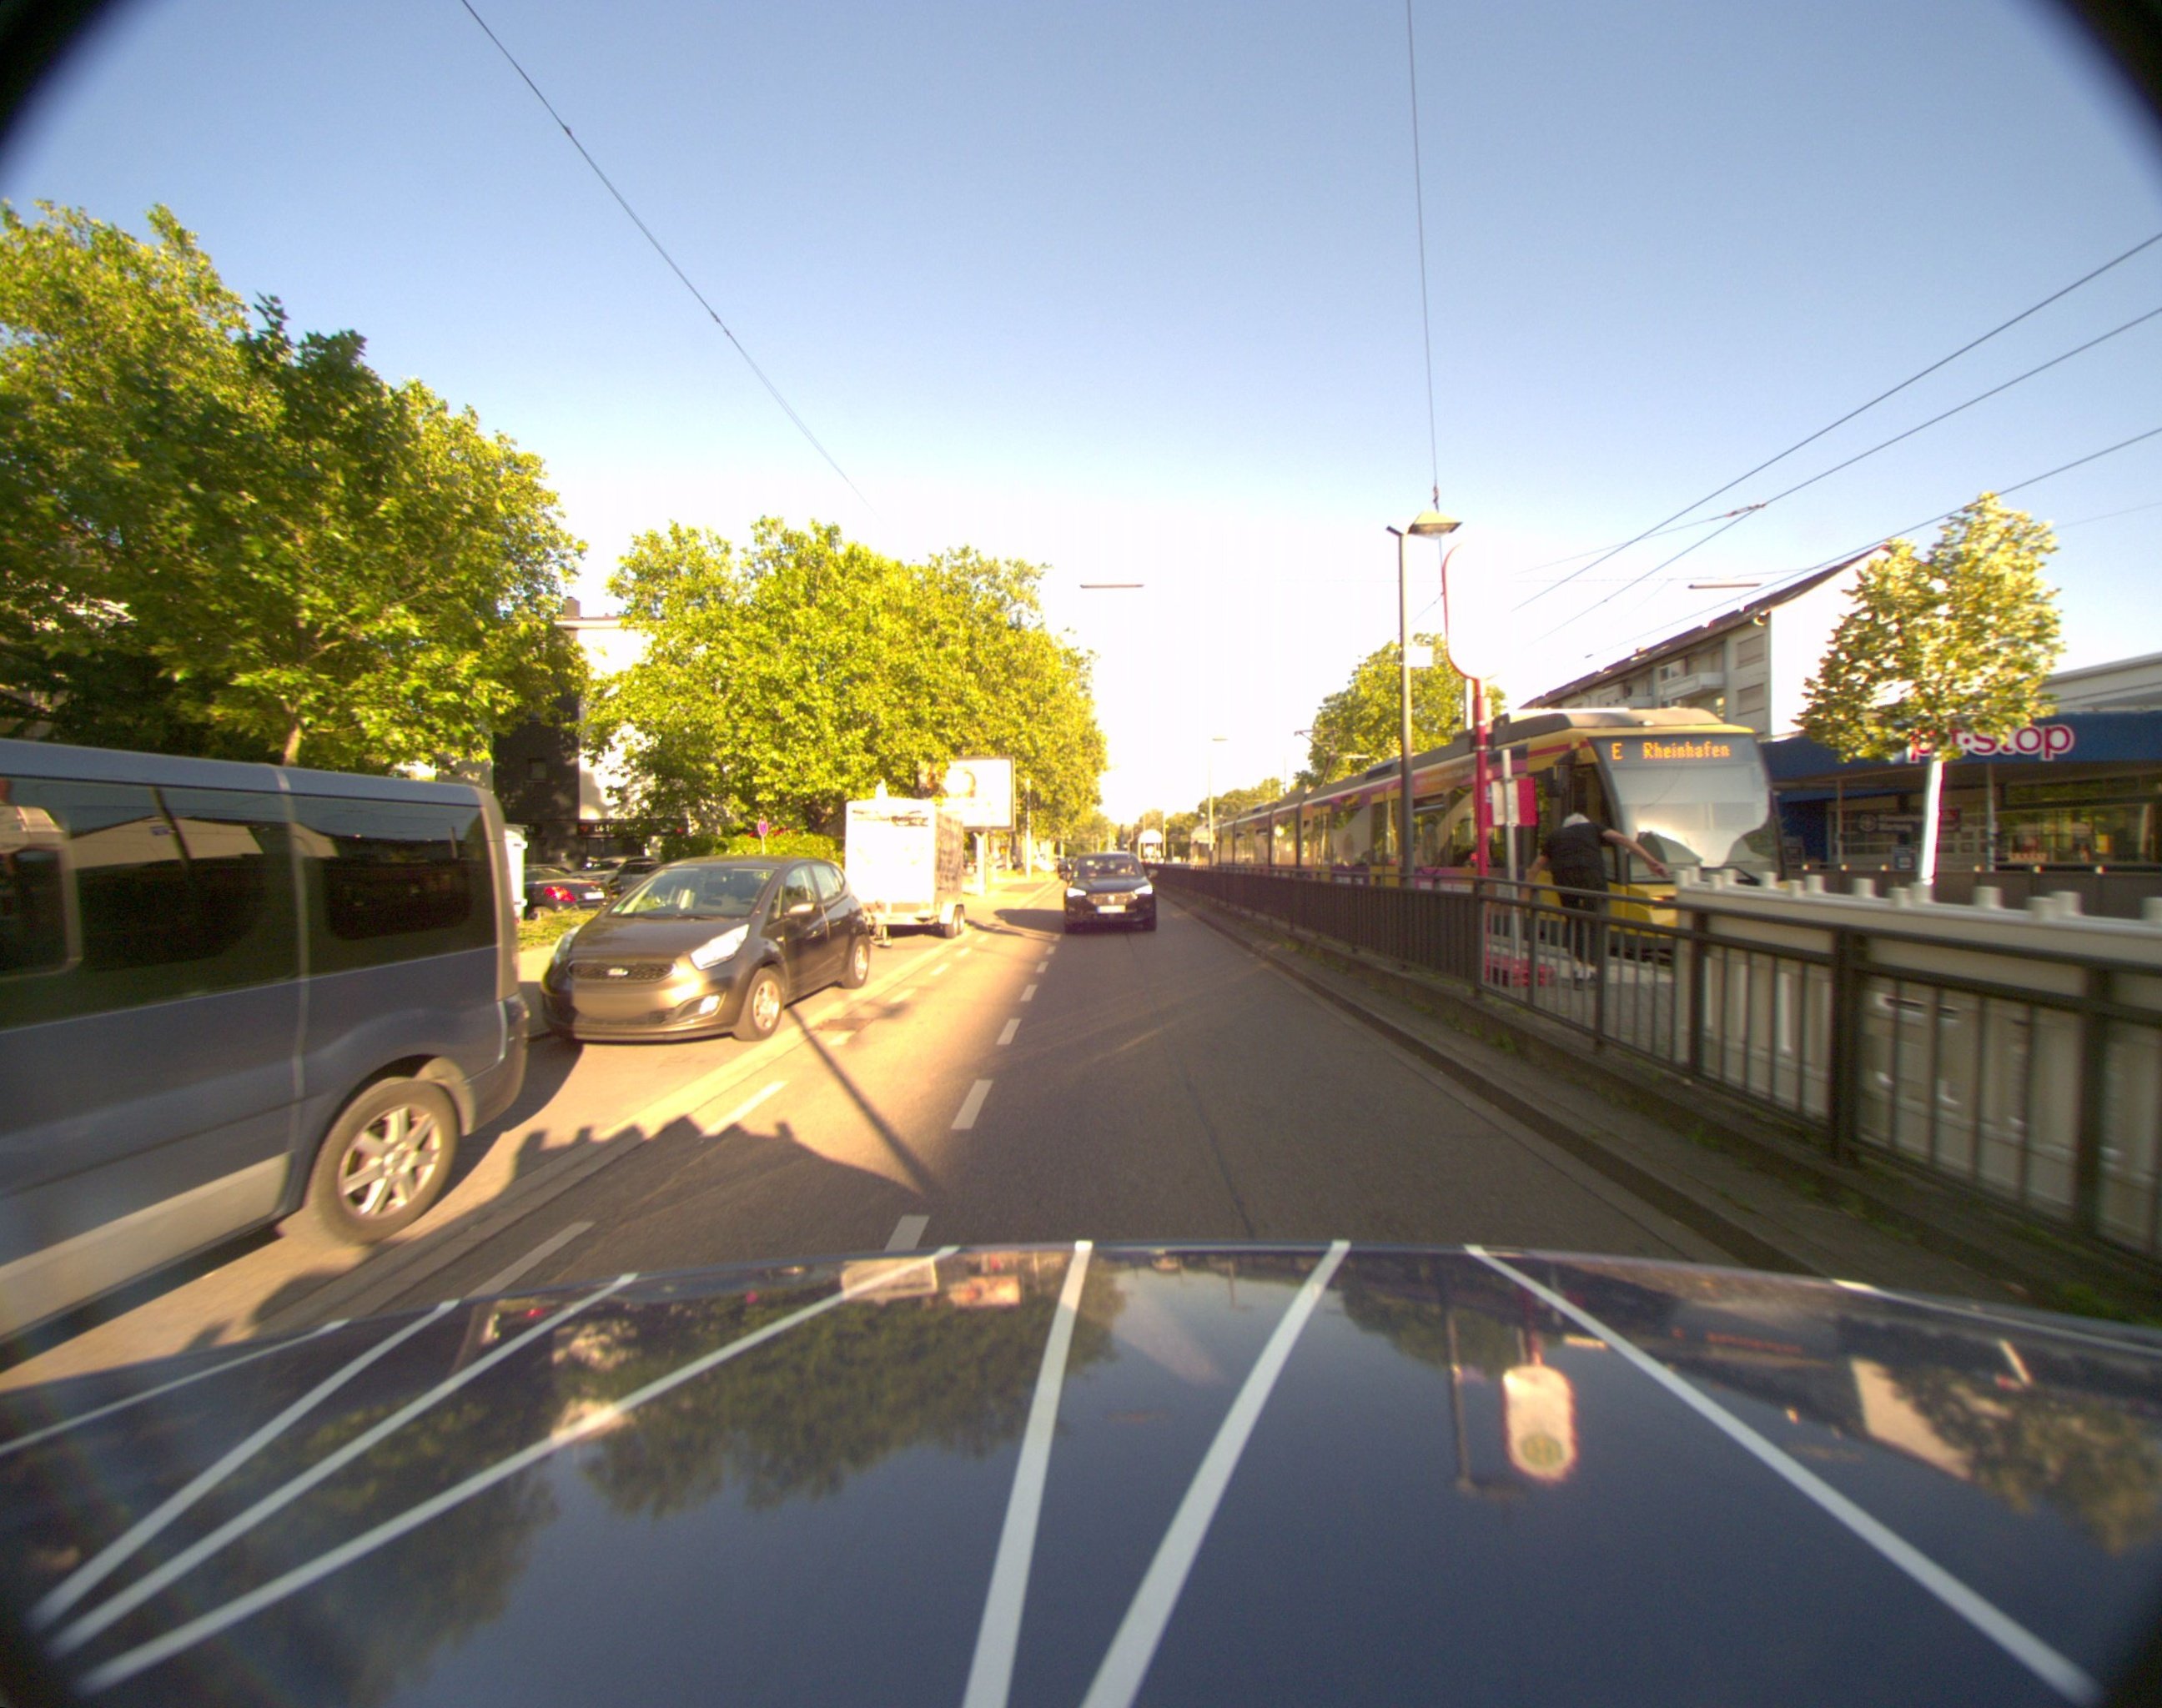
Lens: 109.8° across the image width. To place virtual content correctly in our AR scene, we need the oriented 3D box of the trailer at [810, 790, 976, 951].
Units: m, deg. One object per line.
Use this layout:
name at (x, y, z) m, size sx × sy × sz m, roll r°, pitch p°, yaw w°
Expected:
trailer at (-3.343, 0.267, 14.529) m, size 1.889 × 2.573 × 4.651 m, roll 0°, pitch 0°, yaw 2°

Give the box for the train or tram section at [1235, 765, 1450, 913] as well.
train or tram section at (7.260, -0.412, 23.174) m, size 3.043 × 3.497 × 10.095 m, roll 1°, pitch 1°, yaw 0°

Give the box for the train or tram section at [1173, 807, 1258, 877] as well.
train or tram section at (7.391, -0.640, 43.363) m, size 3.043 × 3.497 × 10.095 m, roll 1°, pitch 1°, yaw 0°

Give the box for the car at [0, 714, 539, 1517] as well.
car at (-3.745, 0.680, 1.553) m, size 1.889 × 2.066 × 4.563 m, roll 0°, pitch 0°, yaw 2°

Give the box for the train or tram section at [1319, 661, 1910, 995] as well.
train or tram section at (7.211, -0.314, 13.085) m, size 3.043 × 3.497 × 10.095 m, roll 1°, pitch 1°, yaw 0°

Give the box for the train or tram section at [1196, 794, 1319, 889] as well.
train or tram section at (7.315, -0.519, 33.283) m, size 3.043 × 3.497 × 10.095 m, roll 1°, pitch 1°, yaw 0°

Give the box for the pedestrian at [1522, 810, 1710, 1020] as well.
pedestrian at (4.246, 0.454, 6.090) m, size 0.918 × 1.541 × 0.789 m, roll -2°, pitch 1°, yaw -7°

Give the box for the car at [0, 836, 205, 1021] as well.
car at (-11.051, 0.719, 6.911) m, size 4.121 × 1.541 × 1.803 m, roll -3°, pitch 0°, yaw 2°

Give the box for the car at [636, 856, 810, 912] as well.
car at (-10.334, 0.821, 22.280) m, size 4.297 × 1.487 × 1.997 m, roll -1°, pitch 0°, yaw -15°

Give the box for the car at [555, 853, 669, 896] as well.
car at (-18.805, 0.770, 30.731) m, size 1.819 × 1.600 × 4.299 m, roll 0°, pitch 0°, yaw 2°

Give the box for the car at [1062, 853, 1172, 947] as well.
car at (0.608, 0.838, 15.758) m, size 1.911 × 1.606 × 4.085 m, roll -3°, pitch 0°, yaw -2°

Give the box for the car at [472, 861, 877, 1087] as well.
car at (-3.540, 0.907, 7.601) m, size 1.800 × 1.621 × 4.000 m, roll 0°, pitch 0°, yaw 2°
